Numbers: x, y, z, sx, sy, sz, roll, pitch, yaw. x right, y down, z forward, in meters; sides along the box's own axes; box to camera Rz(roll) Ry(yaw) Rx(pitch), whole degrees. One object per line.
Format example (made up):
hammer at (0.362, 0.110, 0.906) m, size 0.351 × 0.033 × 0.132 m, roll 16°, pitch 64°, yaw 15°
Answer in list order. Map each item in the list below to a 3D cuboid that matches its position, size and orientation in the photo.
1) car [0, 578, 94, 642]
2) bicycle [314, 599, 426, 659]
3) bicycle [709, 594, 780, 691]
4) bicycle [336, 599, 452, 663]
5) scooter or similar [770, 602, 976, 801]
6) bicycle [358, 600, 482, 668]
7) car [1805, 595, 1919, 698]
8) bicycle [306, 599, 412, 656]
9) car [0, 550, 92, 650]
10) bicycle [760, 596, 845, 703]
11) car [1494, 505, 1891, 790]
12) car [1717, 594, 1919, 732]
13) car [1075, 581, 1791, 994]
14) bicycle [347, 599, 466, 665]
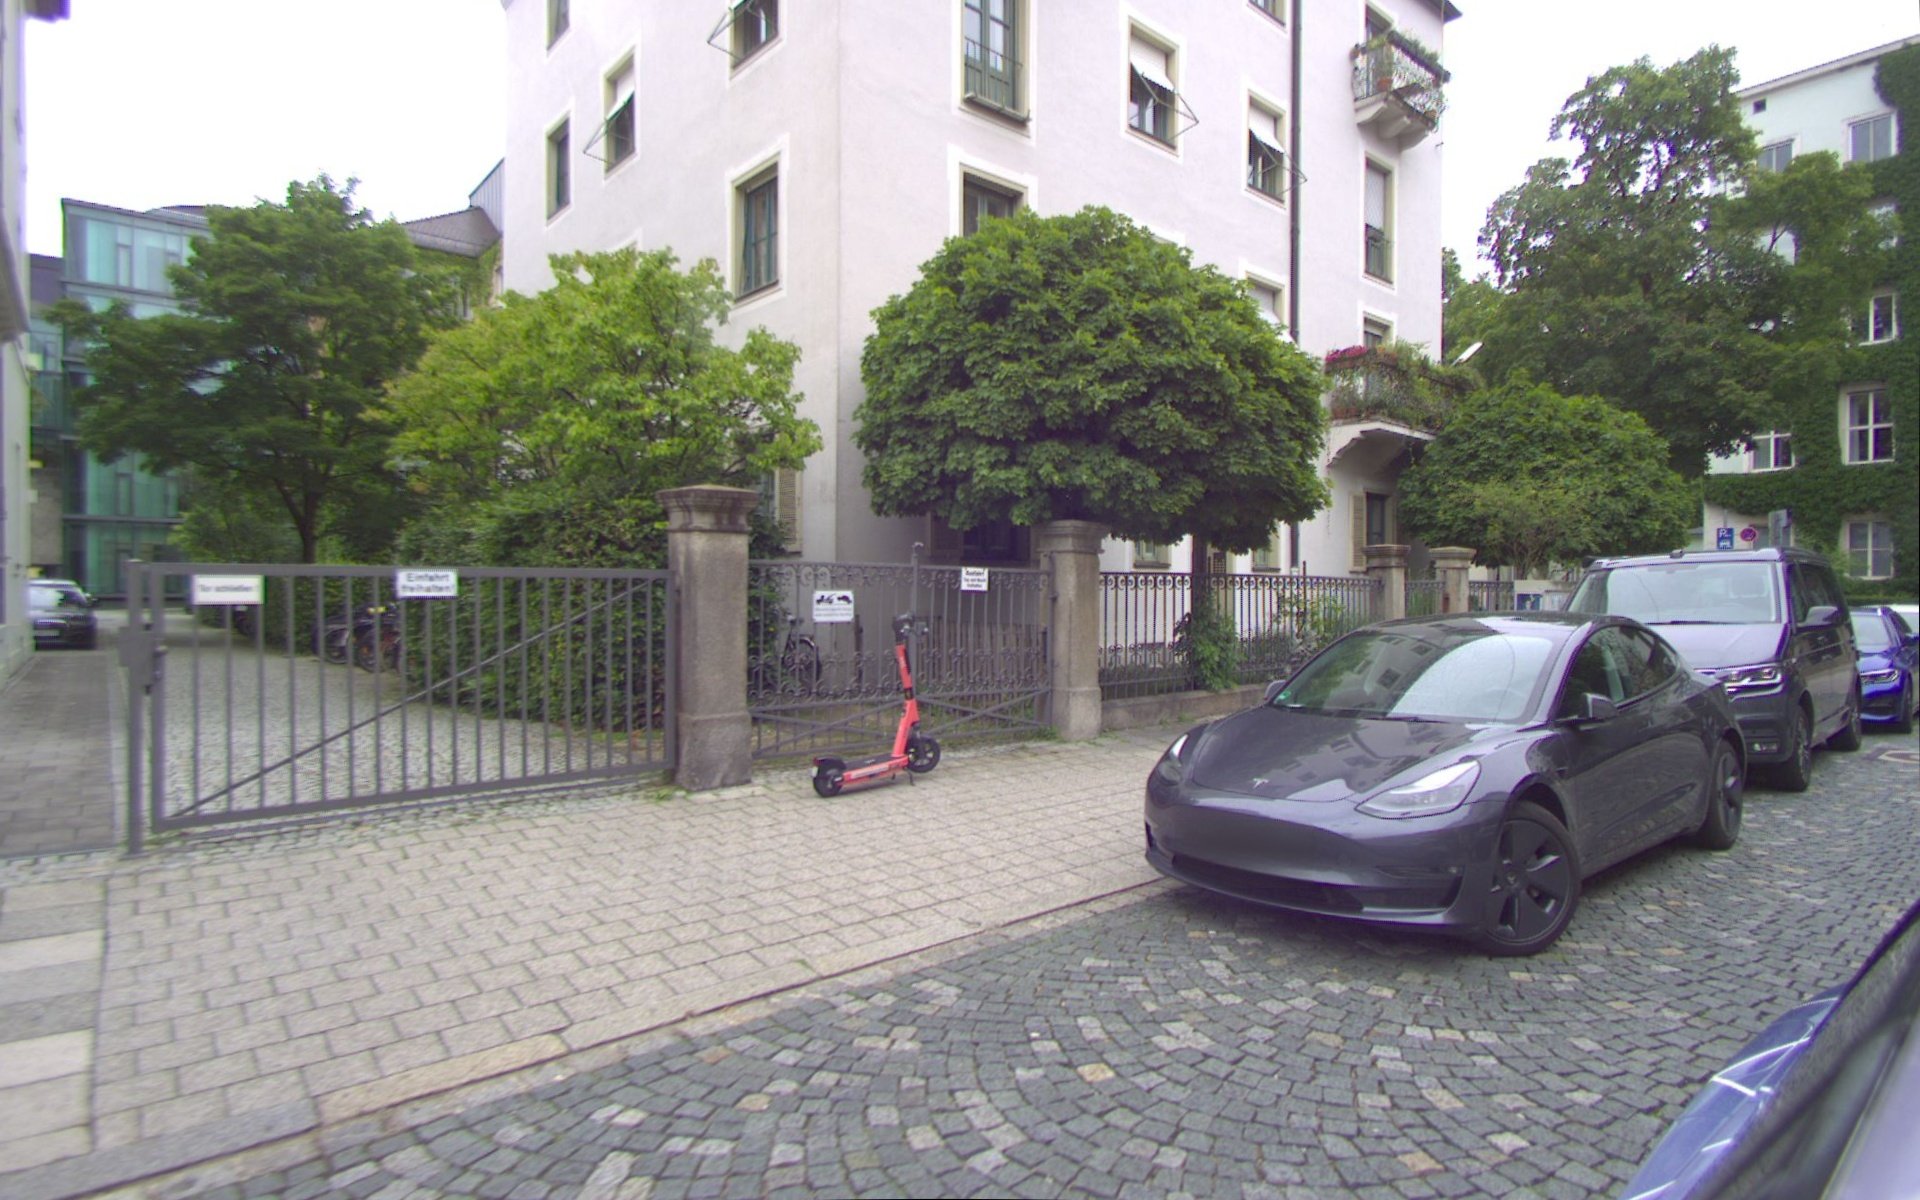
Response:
car at (-25.230, 0.209, 27.829) m, size 1.967 × 1.493 × 3.993 m, roll -3°, pitch 4°, yaw -43°
bicycle at (-11.351, 0.540, 19.496) m, size 1.775 × 1.021 × 0.666 m, roll -2°, pitch 4°, yaw -38°
bicycle at (-2.902, 0.547, 13.546) m, size 0.392 × 1.232 × 1.342 m, roll -1°, pitch -1°, yaw -37°
bicycle at (-10.370, 0.544, 18.572) m, size 1.775 × 1.021 × 0.666 m, roll -2°, pitch 4°, yaw -38°
scooter or similar at (-0.588, 0.662, 7.202) m, size 1.447 × 1.230 × 0.443 m, roll -1°, pitch 6°, yaw -44°
bicycle at (-9.238, 0.550, 17.343) m, size 1.775 × 1.021 × 0.666 m, roll -2°, pitch 4°, yaw -38°
car at (14.805, 0.648, 15.860) m, size 4.207 × 1.392 × 1.743 m, roll 0°, pitch 2°, yaw -41°
bicycle at (-12.157, 0.532, 20.502) m, size 1.775 × 1.021 × 0.577 m, roll -2°, pitch 4°, yaw -38°
car at (-21.122, -0.083, 22.963) m, size 1.967 × 2.038 × 3.993 m, roll -3°, pitch 4°, yaw -43°
bicycle at (-1.959, 0.571, 12.442) m, size 0.392 × 1.232 × 1.450 m, roll -1°, pitch 0°, yaw -37°
car at (7.040, 0.352, 9.487) m, size 4.882 × 1.995 × 1.996 m, roll -1°, pitch -2°, yaw -42°
car at (11.042, 0.646, 12.599) m, size 4.109 × 1.392 × 1.743 m, roll 0°, pitch 2°, yaw -41°
car at (2.934, 0.685, 5.809) m, size 4.450 × 1.484 × 1.941 m, roll 0°, pitch -1°, yaw -39°
bicycle at (-9.844, 0.547, 18.026) m, size 1.775 × 1.021 × 0.666 m, roll -2°, pitch 4°, yaw -38°
